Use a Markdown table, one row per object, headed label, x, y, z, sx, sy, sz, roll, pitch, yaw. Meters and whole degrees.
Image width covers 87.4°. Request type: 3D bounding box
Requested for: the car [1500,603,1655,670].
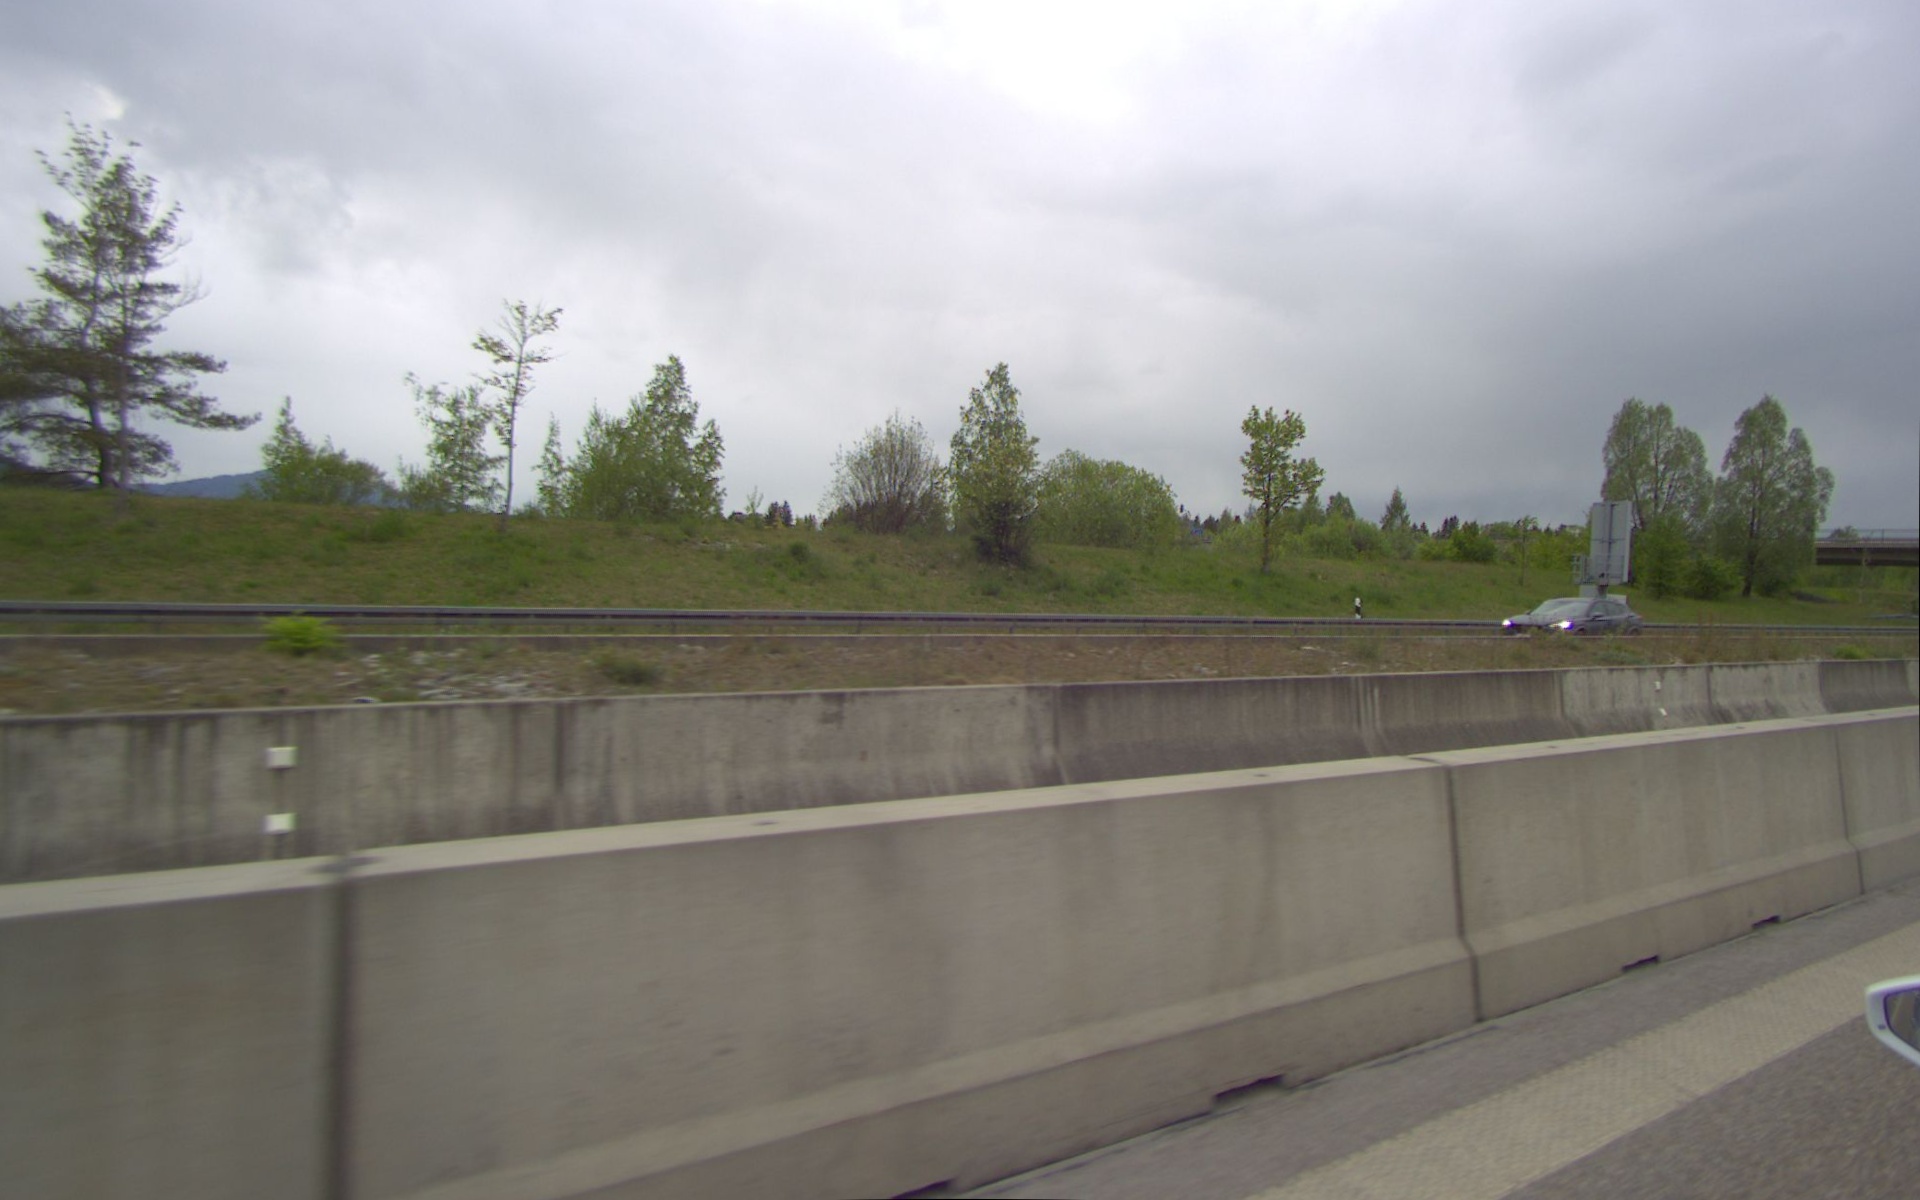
| label | x | y | z | sx | sy | sz | roll | pitch | yaw |
| --- | --- | --- | --- | --- | --- | --- | --- | --- | --- |
| car | 16.054 | 0.930 | 26.075 | 4.128 | 1.596 | 1.694 | 1 | 1 | -31 |
